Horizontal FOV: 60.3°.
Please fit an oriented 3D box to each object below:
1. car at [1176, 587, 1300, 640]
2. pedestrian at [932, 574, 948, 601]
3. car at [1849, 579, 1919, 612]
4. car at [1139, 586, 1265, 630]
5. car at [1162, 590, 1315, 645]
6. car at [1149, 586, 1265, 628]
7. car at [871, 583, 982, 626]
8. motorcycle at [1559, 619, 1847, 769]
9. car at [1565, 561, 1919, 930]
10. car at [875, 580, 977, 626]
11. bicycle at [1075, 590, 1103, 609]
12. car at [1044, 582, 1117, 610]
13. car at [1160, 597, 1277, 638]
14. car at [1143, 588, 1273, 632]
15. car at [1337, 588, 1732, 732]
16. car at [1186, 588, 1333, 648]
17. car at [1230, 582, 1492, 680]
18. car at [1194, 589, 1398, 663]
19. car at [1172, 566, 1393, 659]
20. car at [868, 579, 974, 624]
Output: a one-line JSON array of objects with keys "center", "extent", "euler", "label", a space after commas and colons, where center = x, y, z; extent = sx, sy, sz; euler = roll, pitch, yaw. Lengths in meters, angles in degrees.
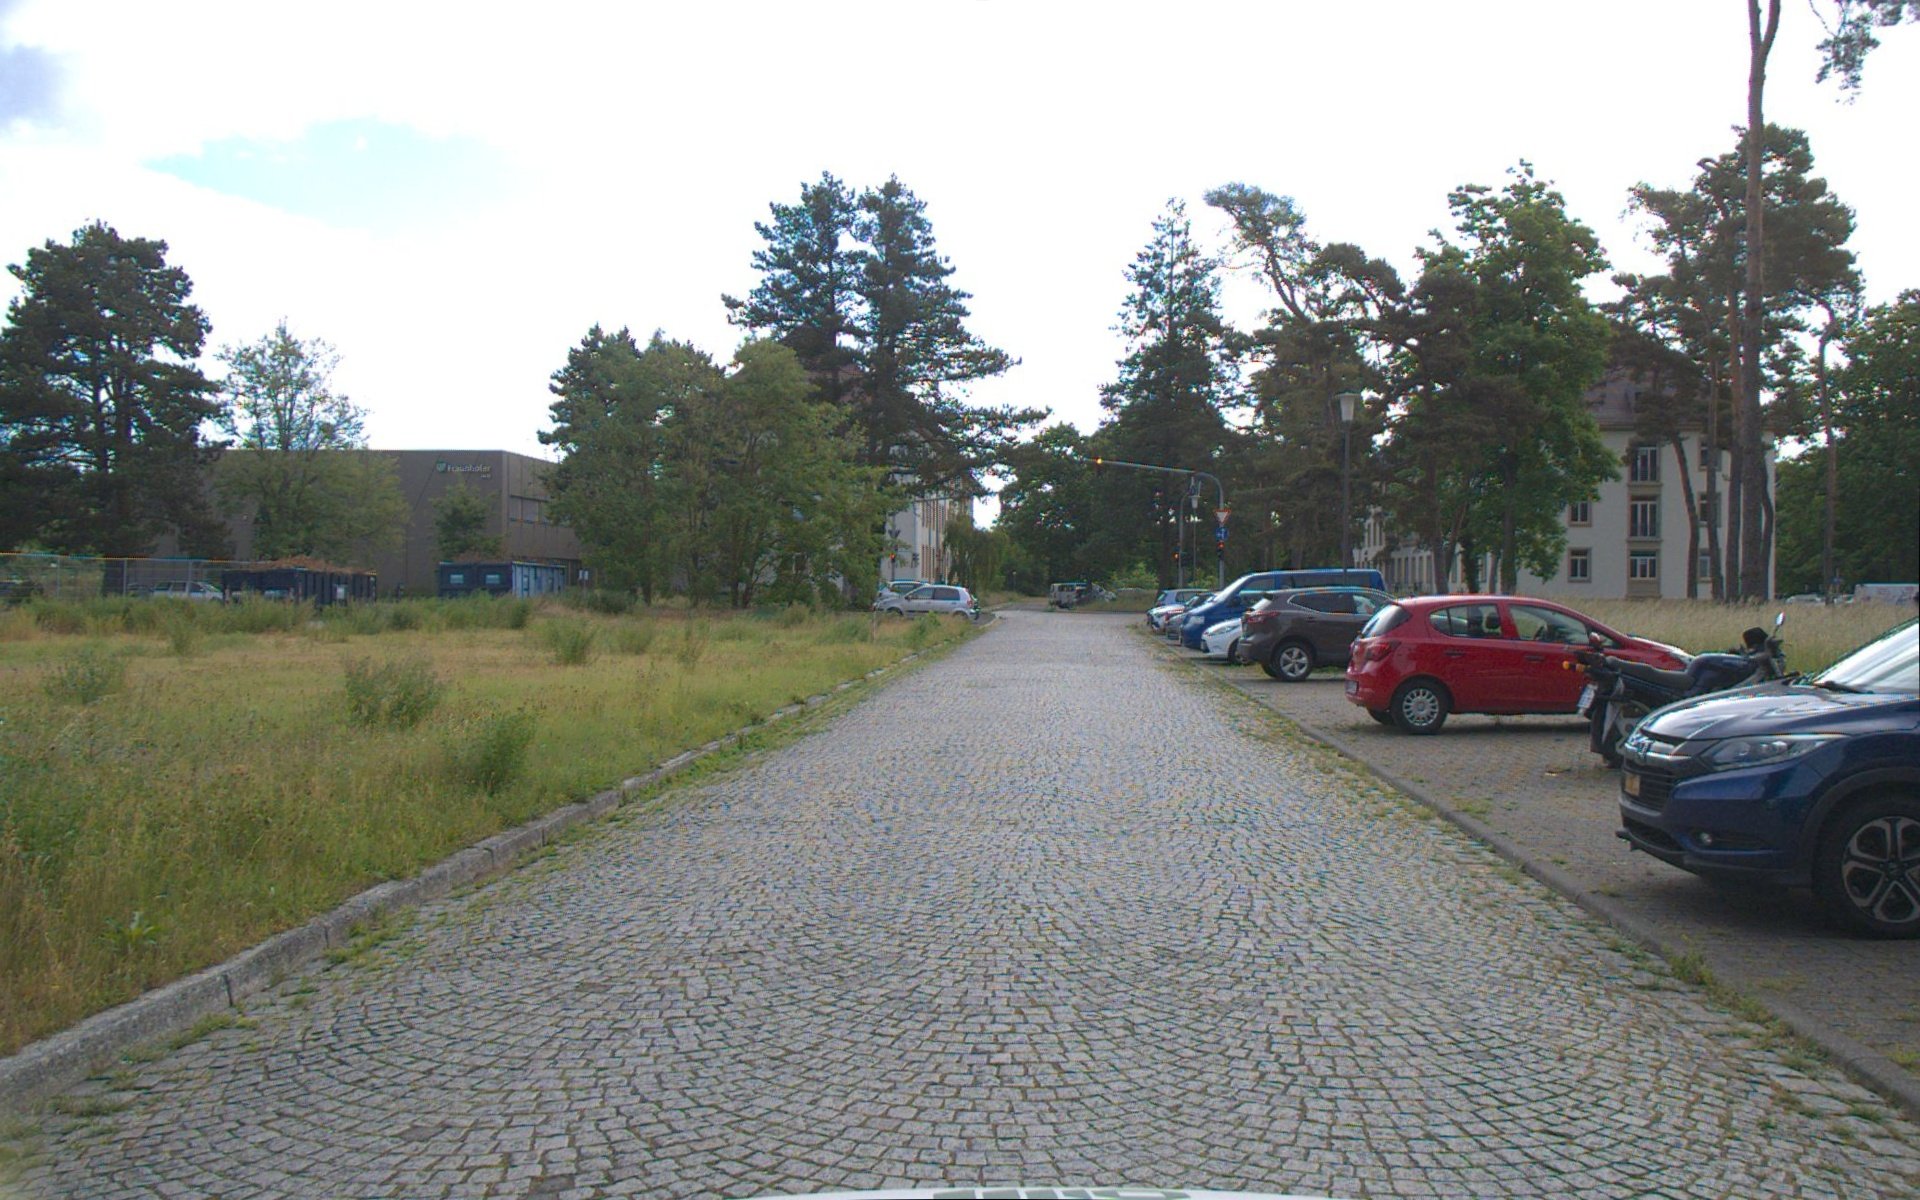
[{"center": [8.170, 0.375, 48.834], "extent": [3.432, 1.513, 1.744], "euler": [0, 0, 3], "label": "car"}, {"center": [-1.535, -0.970, 126.882], "extent": [1.052, 1.993, 1.122], "euler": [2, 0, 4], "label": "pedestrian"}, {"center": [63.080, -0.307, 111.359], "extent": [5.189, 2.055, 2.107], "euler": [2, 0, 4], "label": "car"}, {"center": [8.584, 0.286, 58.930], "extent": [4.148, 1.505, 1.707], "euler": [-1, 0, -7], "label": "car"}, {"center": [7.697, 0.465, 45.989], "extent": [4.043, 1.472, 1.766], "euler": [0, 0, 4], "label": "car"}, {"center": [9.138, 0.253, 61.455], "extent": [4.051, 1.489, 1.633], "euler": [0, 0, -2], "label": "car"}, {"center": [-1.307, 0.162, 63.763], "extent": [4.211, 1.581, 1.811], "euler": [0, 0, -2], "label": "car"}, {"center": [6.298, 0.787, 14.086], "extent": [2.184, 1.223, 0.568], "euler": [-1, 0, 1], "label": "motorcycle"}, {"center": [5.453, 0.636, 8.312], "extent": [4.156, 1.651, 1.887], "euler": [0, 0, 2], "label": "car"}, {"center": [-1.240, 0.113, 61.156], "extent": [3.644, 1.506, 1.673], "euler": [3, 0, 1], "label": "car"}, {"center": [8.845, -0.027, 113.712], "extent": [1.843, 1.191, 0.665], "euler": [2, 0, -2], "label": "bicycle"}, {"center": [9.339, -0.319, 128.521], "extent": [5.276, 2.138, 2.174], "euler": [0, 0, -9], "label": "car"}, {"center": [8.015, 0.535, 51.476], "extent": [3.511, 1.244, 1.629], "euler": [0, 0, 5], "label": "car"}, {"center": [8.394, 0.326, 56.168], "extent": [4.102, 1.462, 1.754], "euler": [0, 0, -4], "label": "car"}, {"center": [6.339, 0.641, 18.587], "extent": [3.841, 1.522, 1.785], "euler": [0, 0, 2], "label": "car"}, {"center": [7.750, 0.456, 43.074], "extent": [3.577, 1.504, 1.766], "euler": [0, 0, 3], "label": "car"}, {"center": [6.921, 0.511, 28.881], "extent": [4.116, 1.623, 1.953], "euler": [0, 0, 1], "label": "car"}, {"center": [7.113, 0.542, 35.241], "extent": [4.013, 1.504, 1.722], "euler": [0, 0, 1], "label": "car"}, {"center": [7.294, 0.275, 37.780], "extent": [4.696, 2.039, 1.967], "euler": [0, 0, 2], "label": "car"}, {"center": [-1.557, 0.063, 66.589], "extent": [4.211, 1.762, 1.652], "euler": [0, 0, -2], "label": "car"}]
